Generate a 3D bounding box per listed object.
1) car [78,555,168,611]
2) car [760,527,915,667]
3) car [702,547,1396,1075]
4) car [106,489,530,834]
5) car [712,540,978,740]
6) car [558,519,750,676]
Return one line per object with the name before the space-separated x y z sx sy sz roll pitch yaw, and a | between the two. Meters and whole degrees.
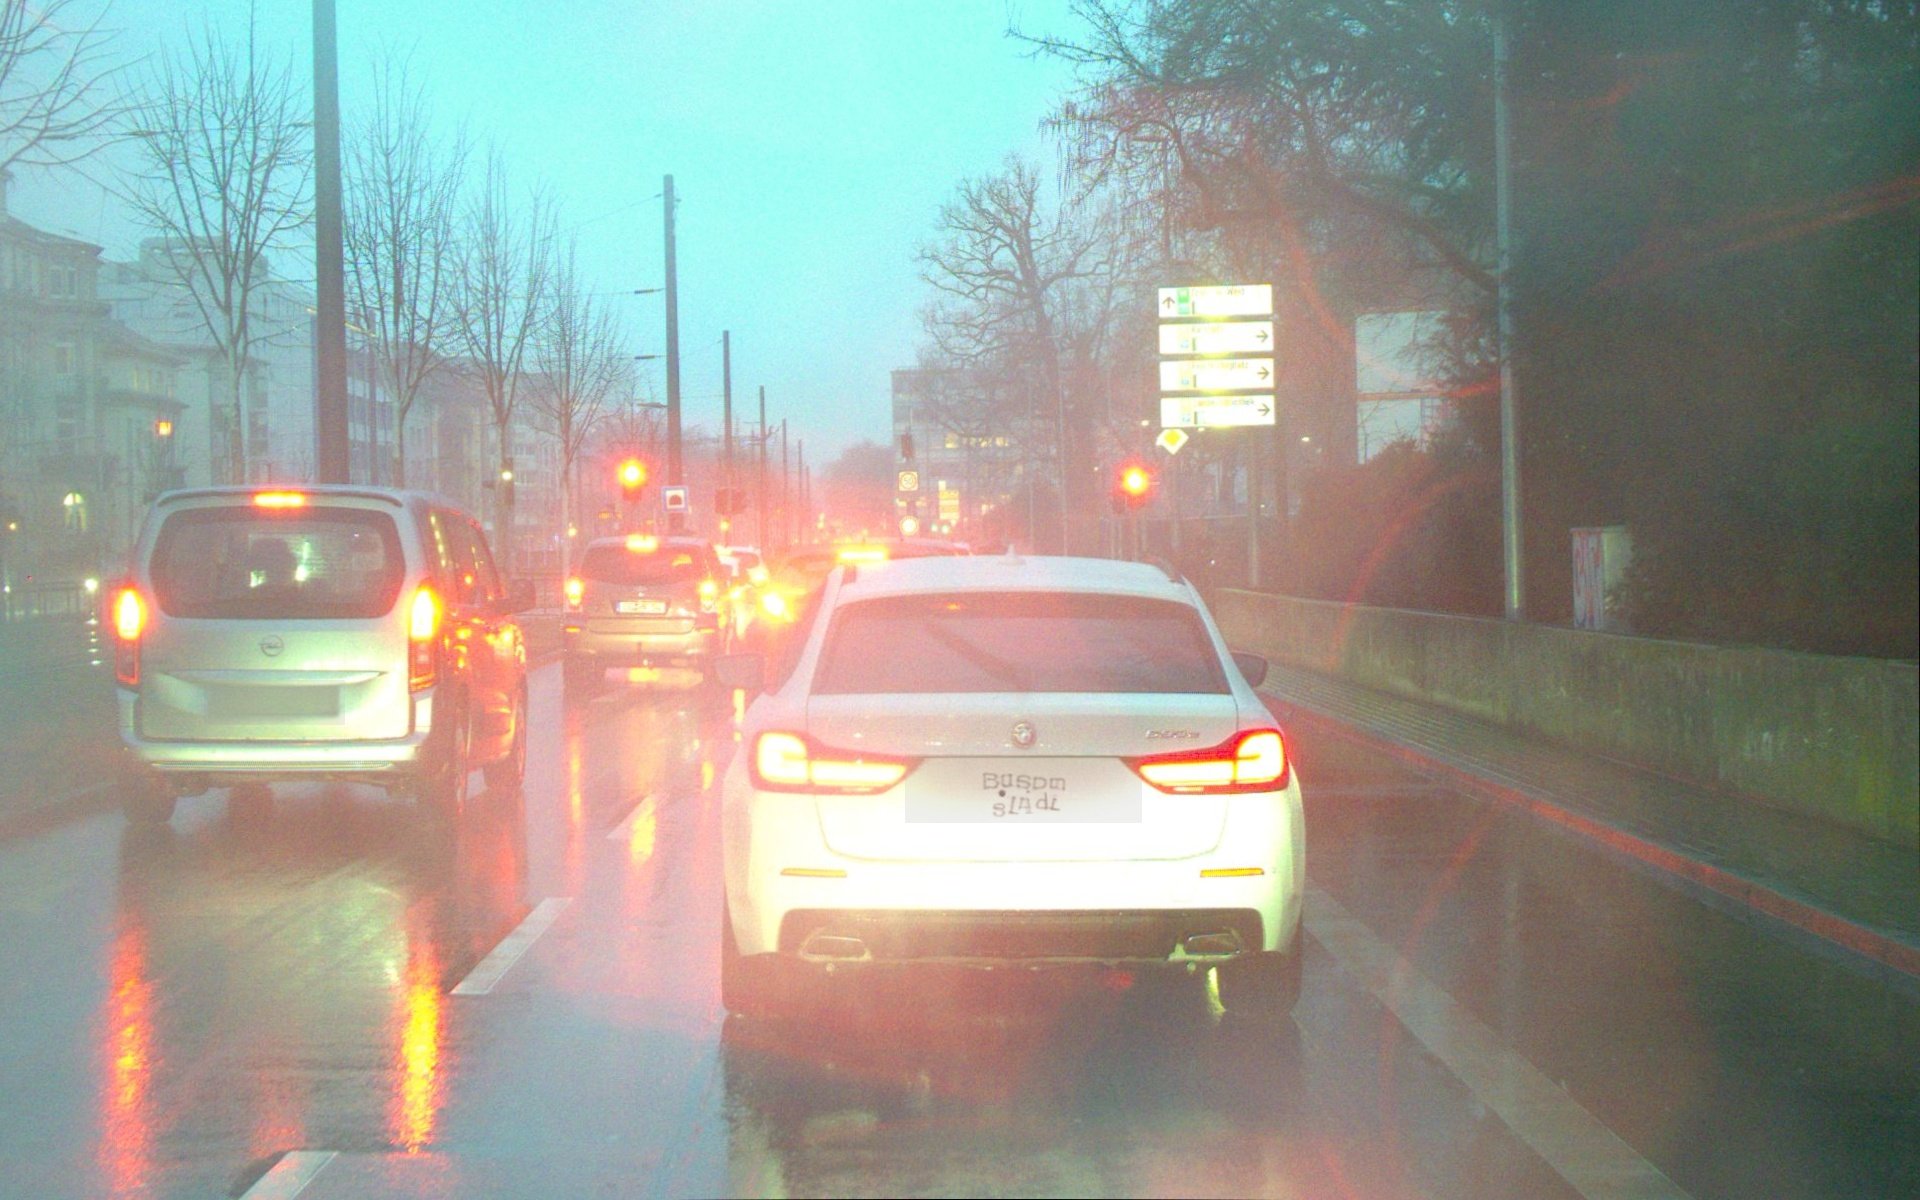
car | -25.856 -0.542 106.286 1.895 1.628 4.581 -1 1 -4
car | -1.464 -0.078 42.360 1.806 1.640 4.000 0 1 -1
car | 0.234 0.576 11.990 1.999 1.503 4.164 0 1 -1
car | -3.516 0.284 19.602 1.793 1.730 4.538 0 1 -3
car | -0.862 0.254 27.172 1.936 1.452 4.164 0 1 -1
car | -3.327 -0.065 38.055 1.806 1.640 4.000 0 1 -1
